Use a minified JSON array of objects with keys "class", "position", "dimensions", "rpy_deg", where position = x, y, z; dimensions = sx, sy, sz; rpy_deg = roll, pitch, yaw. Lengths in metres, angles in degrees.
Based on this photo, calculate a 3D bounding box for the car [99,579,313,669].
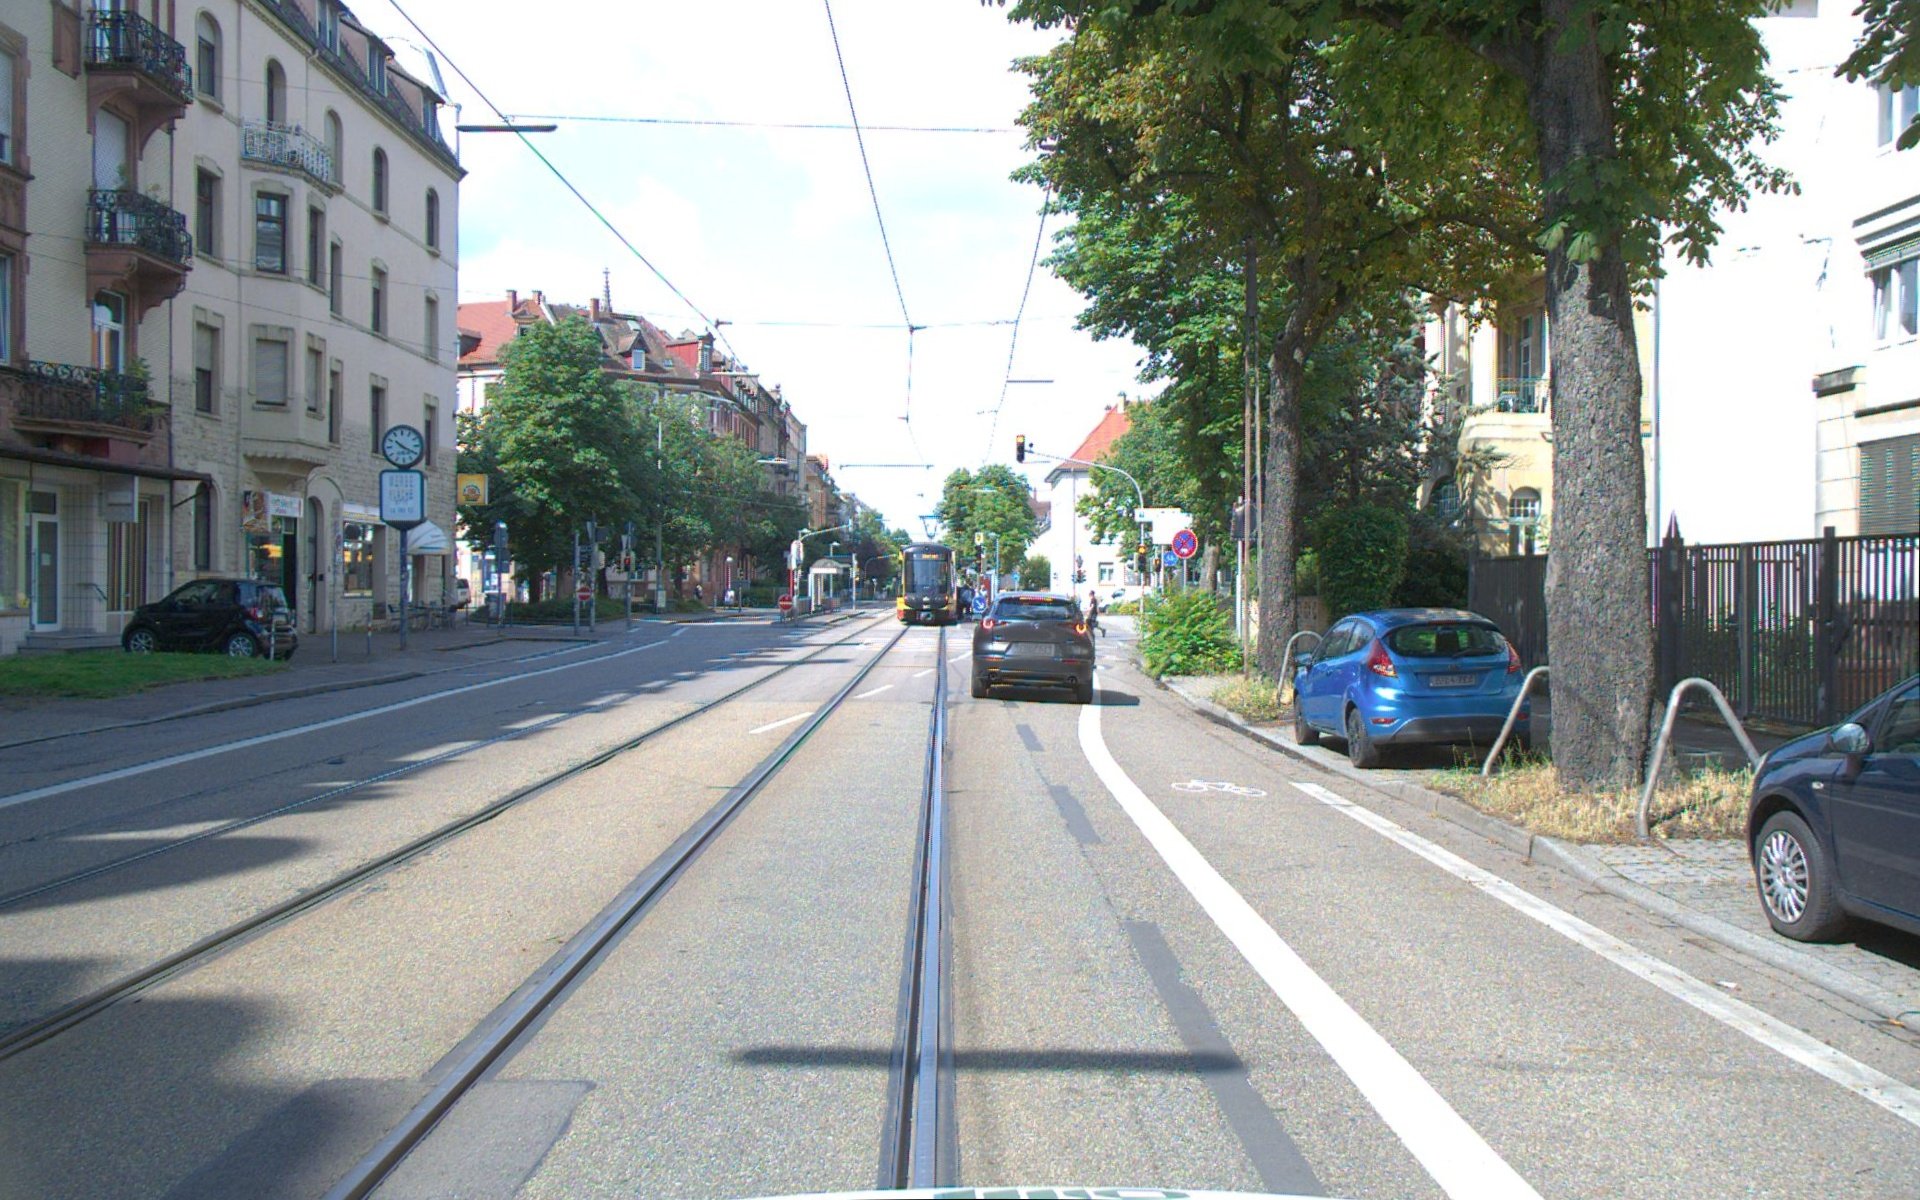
[{"class":"car","position":[-14.057,0.431,30.938],"dimensions":[3.169,1.539,1.679],"rpy_deg":[2,0,2]}]

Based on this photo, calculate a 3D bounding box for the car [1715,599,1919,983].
[{"class":"car","position":[4.700,0.775,6.487],"dimensions":[1.607,1.522,3.756],"rpy_deg":[-1,0,-3]}]

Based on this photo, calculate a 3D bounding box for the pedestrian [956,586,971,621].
[{"class":"pedestrian","position":[0.168,0.160,76.173],"dimensions":[0.654,1.633,0.699],"rpy_deg":[0,0,-2]}]

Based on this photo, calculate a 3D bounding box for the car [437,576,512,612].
[{"class":"car","position":[-31.108,-0.378,105.974],"dimensions":[4.032,2.048,2.002],"rpy_deg":[-3,0,9]}]

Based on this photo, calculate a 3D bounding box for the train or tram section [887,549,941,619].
[{"class":"train or tram section","position":[-2.602,-0.829,90.864],"dimensions":[2.599,3.589,8.490],"rpy_deg":[-1,0,-4]}]

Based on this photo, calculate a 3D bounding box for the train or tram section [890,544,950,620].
[{"class":"train or tram section","position":[-2.069,-0.842,82.379],"dimensions":[2.599,3.589,8.490],"rpy_deg":[-1,0,-4]}]

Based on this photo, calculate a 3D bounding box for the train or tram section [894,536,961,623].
[{"class":"train or tram section","position":[-1.535,-0.858,73.888],"dimensions":[2.599,3.589,8.490],"rpy_deg":[-1,0,-4]}]

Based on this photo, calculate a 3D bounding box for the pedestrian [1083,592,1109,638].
[{"class":"pedestrian","position":[4.864,0.526,59.362],"dimensions":[0.857,1.633,0.631],"rpy_deg":[0,0,-3]}]

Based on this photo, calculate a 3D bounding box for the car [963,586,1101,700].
[{"class":"car","position":[1.004,0.581,25.062],"dimensions":[1.753,1.538,4.349],"rpy_deg":[1,0,-2]}]

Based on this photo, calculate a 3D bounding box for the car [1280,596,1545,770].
[{"class":"car","position":[4.500,0.752,17.005],"dimensions":[1.591,1.522,3.847],"rpy_deg":[-2,0,-1]}]
